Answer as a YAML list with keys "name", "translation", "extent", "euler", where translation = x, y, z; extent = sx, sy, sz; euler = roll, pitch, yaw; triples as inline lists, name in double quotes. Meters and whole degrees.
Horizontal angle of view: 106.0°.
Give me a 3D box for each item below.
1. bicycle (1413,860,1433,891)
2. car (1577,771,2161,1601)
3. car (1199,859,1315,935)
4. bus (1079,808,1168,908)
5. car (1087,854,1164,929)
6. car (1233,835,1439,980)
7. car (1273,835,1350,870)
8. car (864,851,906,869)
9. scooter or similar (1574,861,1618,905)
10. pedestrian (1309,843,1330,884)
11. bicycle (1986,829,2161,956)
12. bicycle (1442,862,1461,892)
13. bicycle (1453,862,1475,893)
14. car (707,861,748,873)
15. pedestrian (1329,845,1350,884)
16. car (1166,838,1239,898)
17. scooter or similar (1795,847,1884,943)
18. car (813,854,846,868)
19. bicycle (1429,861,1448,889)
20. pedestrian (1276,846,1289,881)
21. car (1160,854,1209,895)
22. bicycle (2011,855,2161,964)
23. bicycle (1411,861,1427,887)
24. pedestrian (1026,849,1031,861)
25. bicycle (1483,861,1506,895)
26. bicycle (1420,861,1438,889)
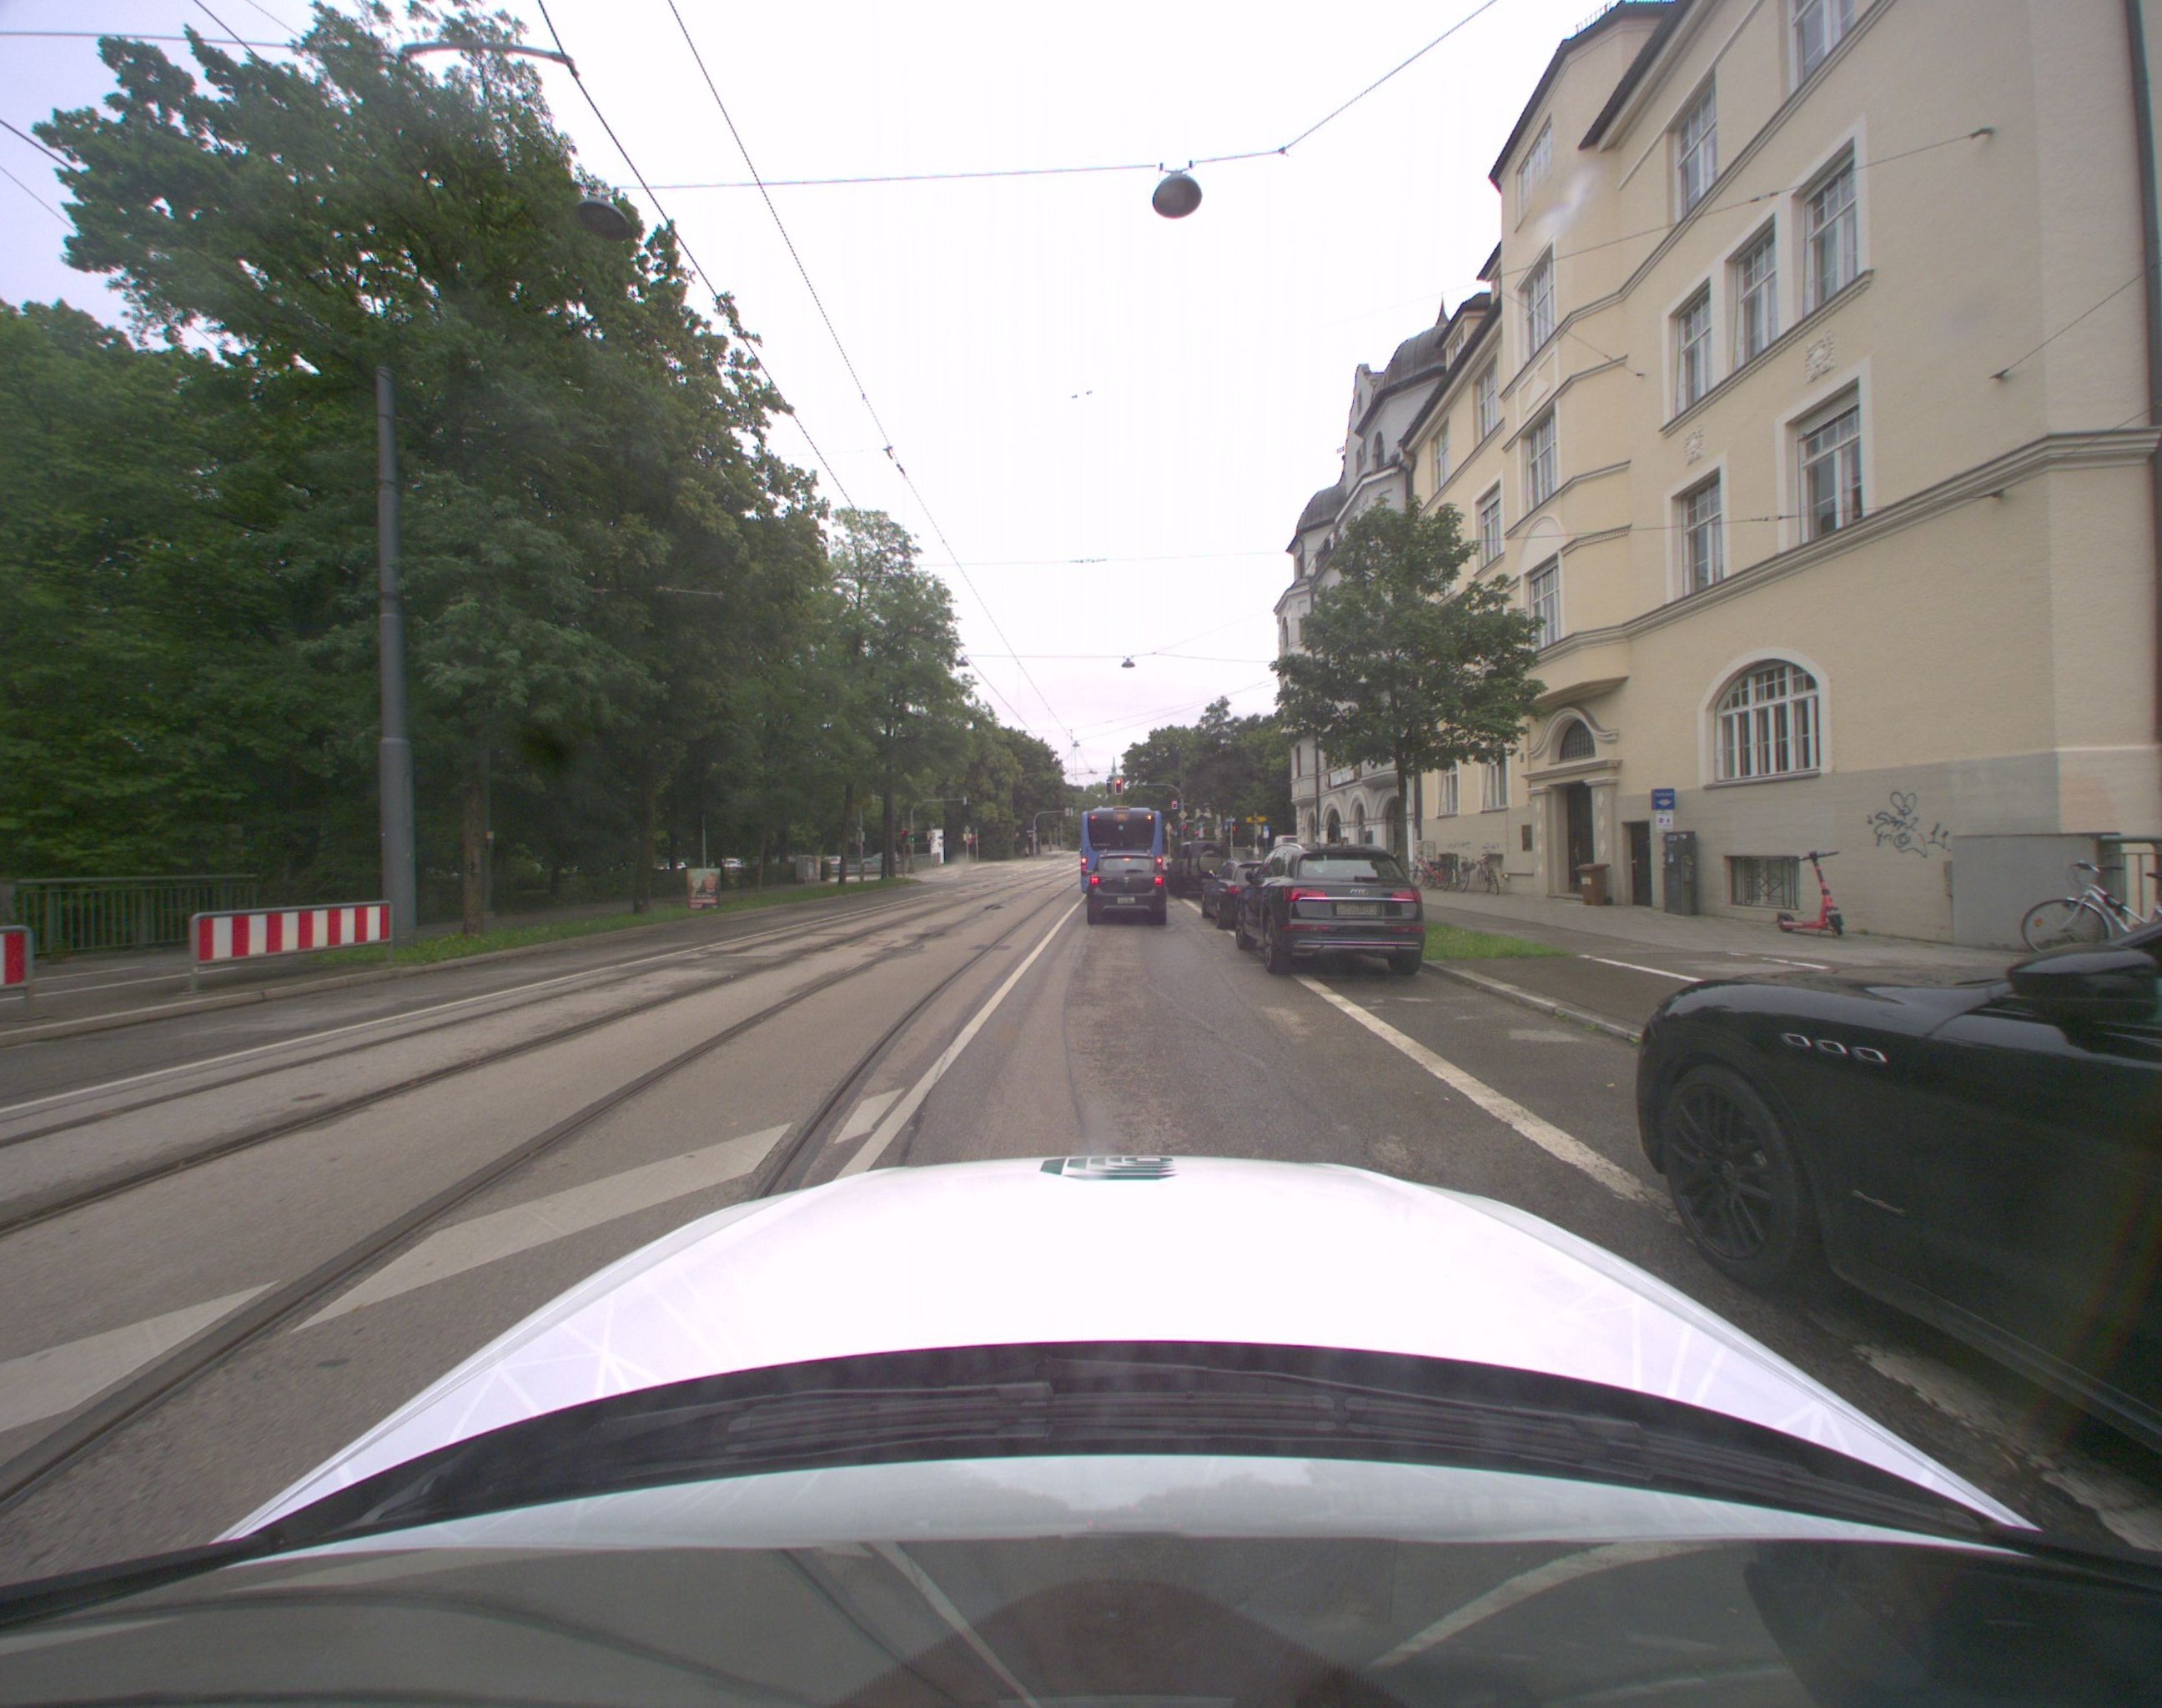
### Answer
- name: "bicycle"
  translation: [11.594, 0.715, 27.644]
  extent: [0.241, 1.039, 1.224]
  euler: [0, 0, 3]
- name: "car"
  translation: [3.029, 0.651, 1.267]
  extent: [1.893, 1.610, 4.669]
  euler: [0, 0, 3]
- name: "car"
  translation: [3.665, 0.826, 17.692]
  extent: [1.709, 1.426, 4.605]
  euler: [0, 0, 2]
- name: "bus"
  translation: [1.367, 0.140, 28.184]
  extent: [2.669, 2.997, 6.962]
  euler: [0, 0, 1]
- name: "car"
  translation: [0.999, 0.785, 18.629]
  extent: [1.594, 1.556, 3.527]
  euler: [0, 0, 2]
- name: "car"
  translation: [3.333, 0.622, 11.553]
  extent: [1.767, 1.658, 4.491]
  euler: [0, 0, 3]
- name: "car"
  translation: [17.738, -0.086, 62.857]
  extent: [5.279, 2.613, 2.230]
  euler: [0, -1, -1]
- name: "car"
  translation: [-20.700, 0.650, 86.038]
  extent: [4.014, 1.887, 1.488]
  euler: [0, -1, -4]
- name: "scooter or similar"
  translation: [11.529, 0.639, 18.241]
  extent: [0.658, 0.946, 0.547]
  euler: [0, -1, 4]
- name: "pedestrian"
  translation: [10.631, 0.430, 36.346]
  extent: [0.702, 1.816, 0.870]
  euler: [0, -1, 3]
- name: "bicycle"
  translation: [11.166, 0.400, 9.142]
  extent: [0.331, 1.312, 1.537]
  euler: [0, 0, 1]
- name: "bicycle"
  translation: [11.941, 0.729, 26.236]
  extent: [0.271, 0.930, 0.887]
  euler: [0, -1, 4]
- name: "bicycle"
  translation: [11.731, 0.720, 24.956]
  extent: [0.284, 0.930, 0.887]
  euler: [0, -1, 4]
- name: "car"
  translation: [-37.295, 1.363, 85.852]
  extent: [3.719, 1.185, 1.249]
  euler: [0, -1, -3]
- name: "pedestrian"
  translation: [11.541, 0.460, 36.333]
  extent: [0.702, 1.732, 0.843]
  euler: [0, -1, 3]
- name: "car"
  translation: [4.124, 0.470, 28.361]
  extent: [1.907, 1.906, 4.808]
  euler: [0, 0, 1]
- name: "scooter or similar"
  translation: [10.901, 0.565, 11.736]
  extent: [0.260, 1.313, 1.143]
  euler: [0, -1, 3]
- name: "car"
  translation: [-26.536, 0.752, 86.036]
  extent: [3.102, 1.452, 1.249]
  euler: [0, -1, -3]
- name: "bicycle"
  translation: [11.965, 0.687, 27.257]
  extent: [0.304, 0.930, 0.887]
  euler: [0, -1, 5]
- name: "pedestrian"
  translation: [11.900, 0.562, 48.189]
  extent: [0.669, 2.014, 0.717]
  euler: [0, -1, 7]
- name: "car"
  translation: [4.240, 0.825, 34.007]
  extent: [1.707, 1.591, 4.330]
  euler: [0, 0, 3]
- name: "bicycle"
  translation: [11.075, 0.563, 8.813]
  extent: [0.286, 1.106, 1.441]
  euler: [-1, 0, -4]
- name: "bicycle"
  translation: [12.092, 0.716, 29.152]
  extent: [0.258, 0.930, 0.887]
  euler: [0, -1, 4]
- name: "pedestrian"
  translation: [-6.720, 0.137, 103.637]
  extent: [0.529, 1.501, 0.589]
  euler: [0, -1, 7]
- name: "bicycle"
  translation: [11.685, 0.679, 23.027]
  extent: [0.220, 0.930, 0.886]
  euler: [0, -1, 2]
- name: "bicycle"
  translation: [12.047, 0.716, 28.216]
  extent: [0.289, 0.930, 0.887]
  euler: [0, -1, 4]
